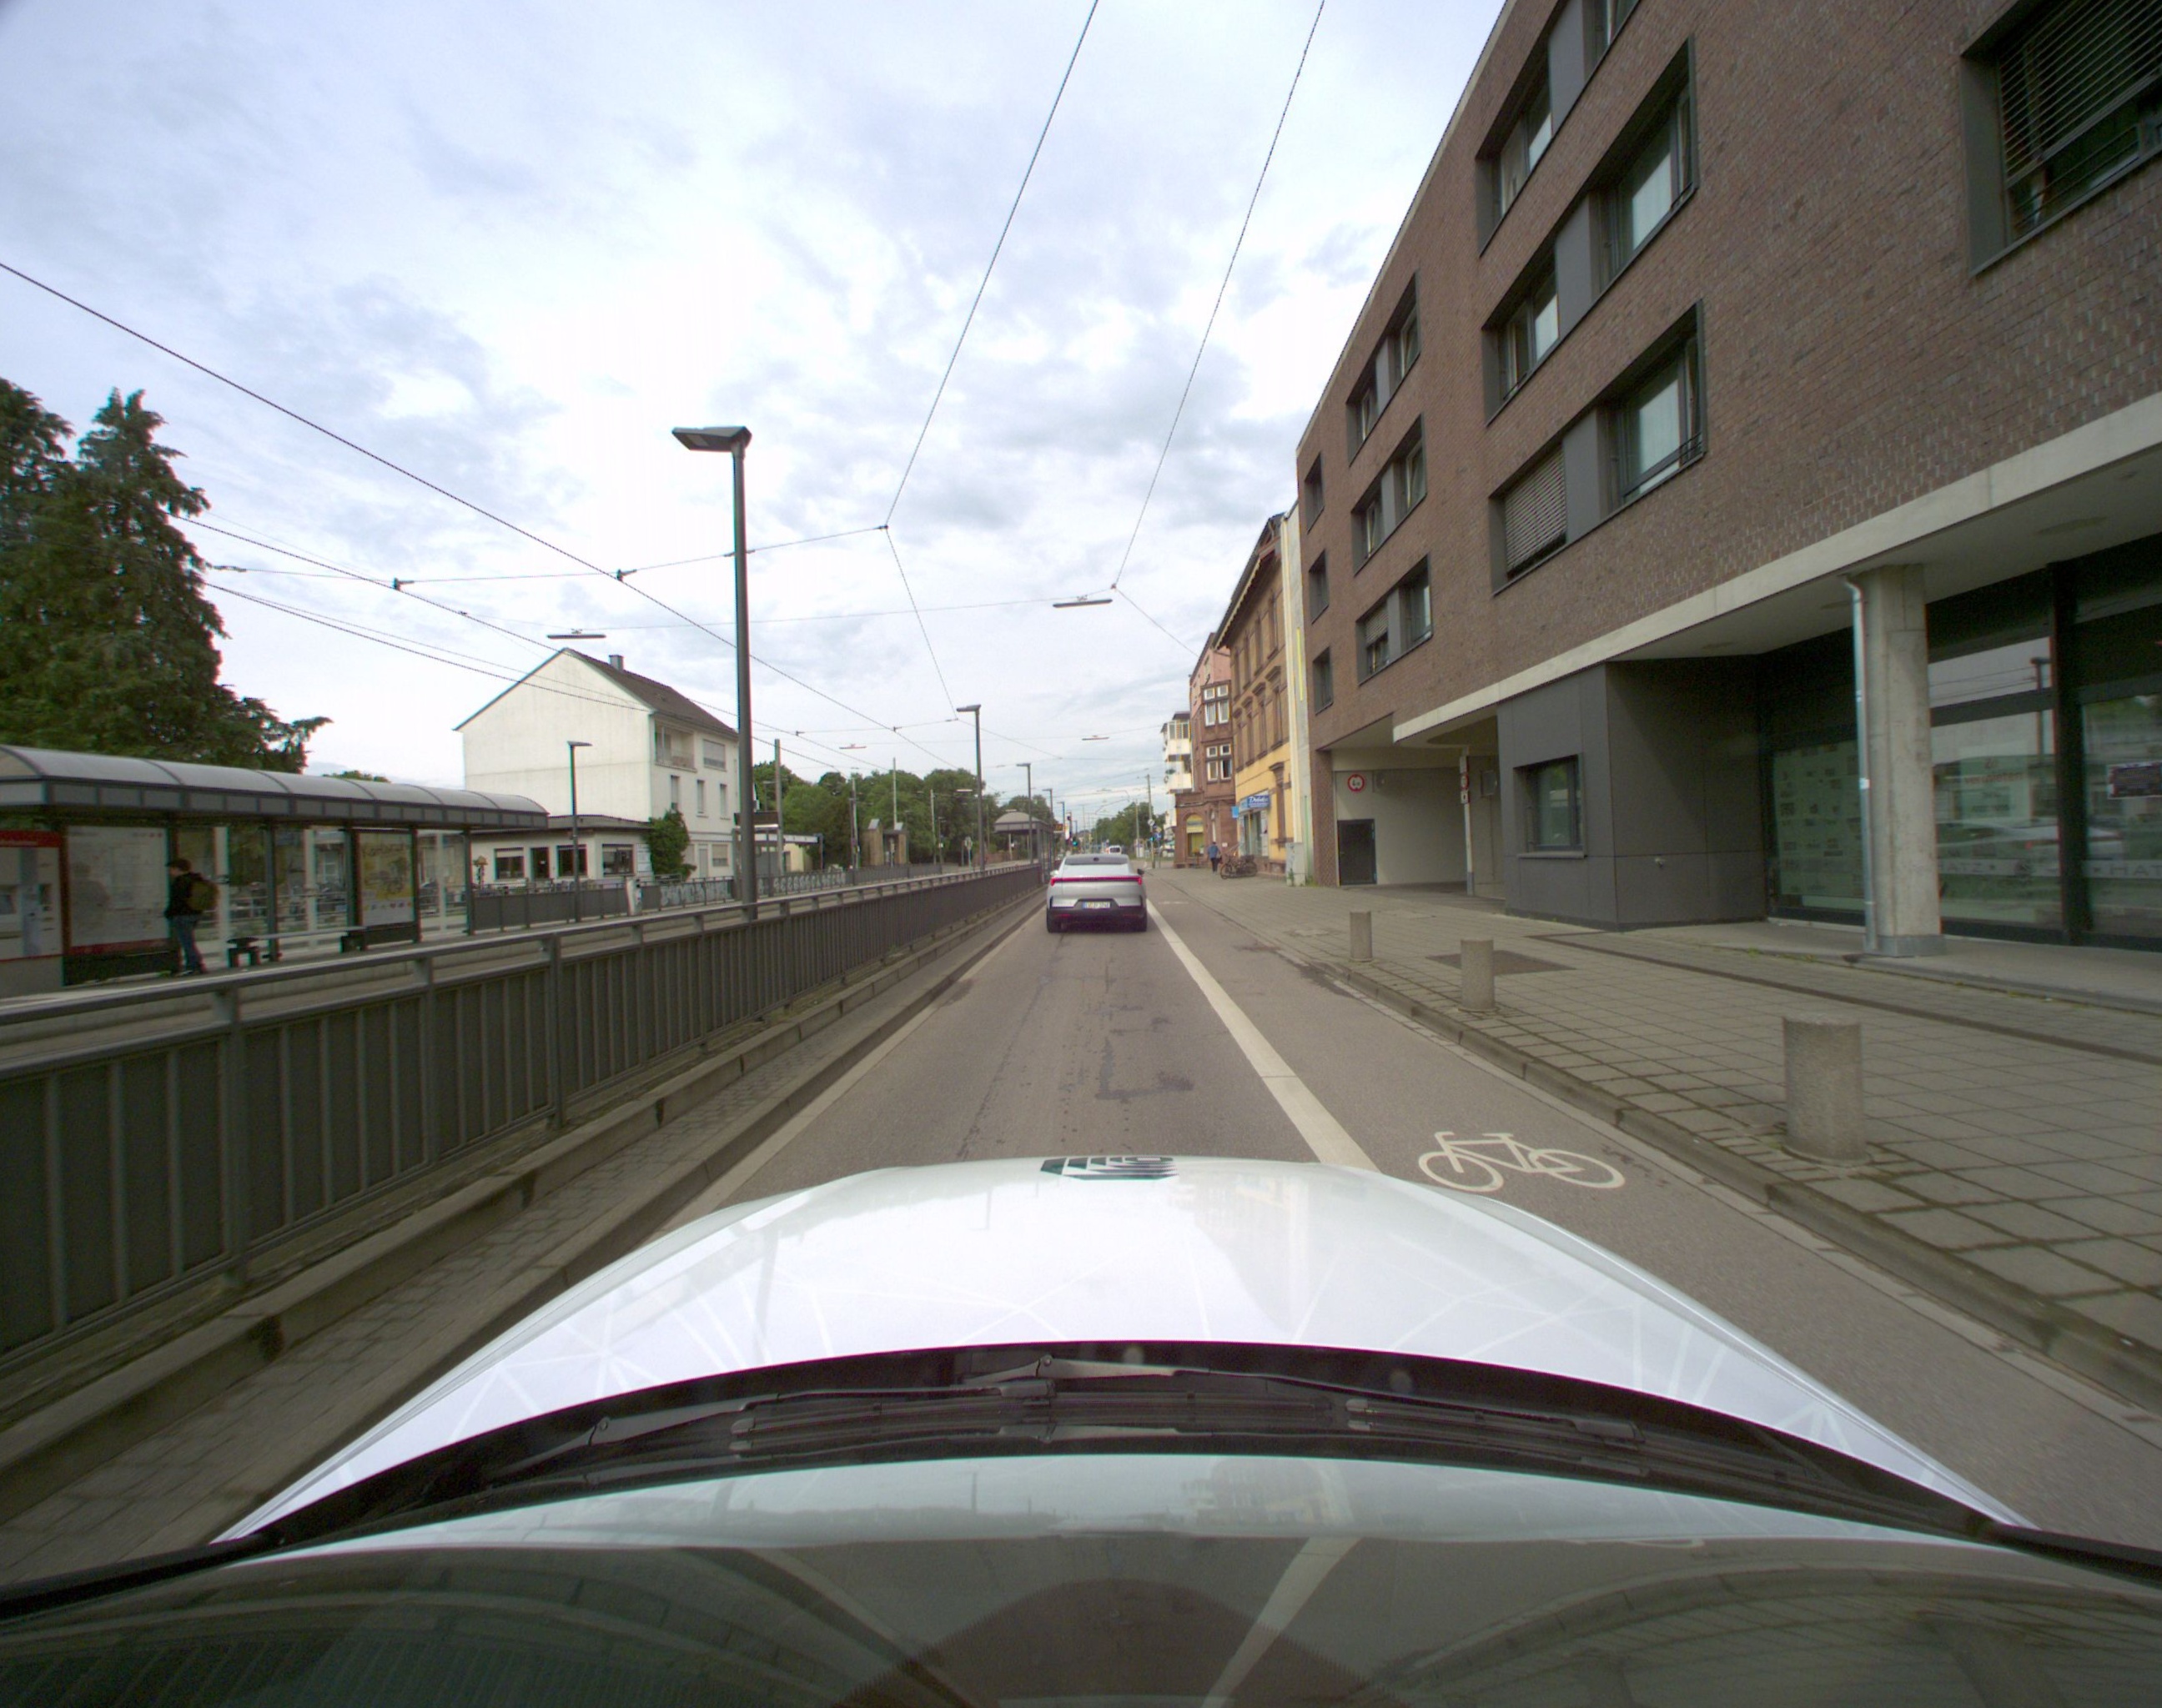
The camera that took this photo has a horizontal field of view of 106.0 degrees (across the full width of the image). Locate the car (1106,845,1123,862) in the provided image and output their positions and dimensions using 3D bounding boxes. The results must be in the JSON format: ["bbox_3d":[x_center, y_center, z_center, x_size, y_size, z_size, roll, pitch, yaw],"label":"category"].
[{"bbox_3d":[4.971,-0.102,121.328,2.220,2.402,5.119,-1,0,-2],"label":"car"}]

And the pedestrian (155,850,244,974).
[{"bbox_3d":[-12.409,0.793,11.488,0.700,1.664,0.611,-1,-1,-32],"label":"pedestrian"}]

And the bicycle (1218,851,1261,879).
[{"bbox_3d":[7.206,0.487,37.116,1.771,1.129,0.642,-5,0,0],"label":"bicycle"}]

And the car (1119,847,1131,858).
[{"bbox_3d":[10.559,-0.408,196.754,2.796,2.505,5.725,-1,0,2],"label":"car"}]

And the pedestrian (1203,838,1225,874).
[{"bbox_3d":[7.262,0.099,44.598,0.957,1.850,0.976,-4,0,2],"label":"pedestrian"}]

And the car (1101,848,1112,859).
[{"bbox_3d":[4.908,-0.172,157.780,1.986,2.013,4.002,-2,0,2],"label":"car"}]

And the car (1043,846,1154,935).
[{"bbox_3d":[0.270,0.692,16.932,1.994,1.581,3.997,-1,-1,-2],"label":"car"}]

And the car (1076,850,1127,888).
[{"bbox_3d":[0.859,0.603,34.980,1.987,1.419,4.000,-3,0,1],"label":"car"}]

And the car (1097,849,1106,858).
[{"bbox_3d":[4.751,-0.198,185.620,1.986,2.013,4.002,-2,0,2],"label":"car"}]

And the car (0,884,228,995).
[{"bbox_3d":[-15.823,1.259,12.316,1.760,1.451,3.994,-2,-1,-4],"label":"car"}]

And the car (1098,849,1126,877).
[{"bbox_3d":[1.972,0.537,51.959,1.674,1.687,3.825,-1,0,2],"label":"car"}]
